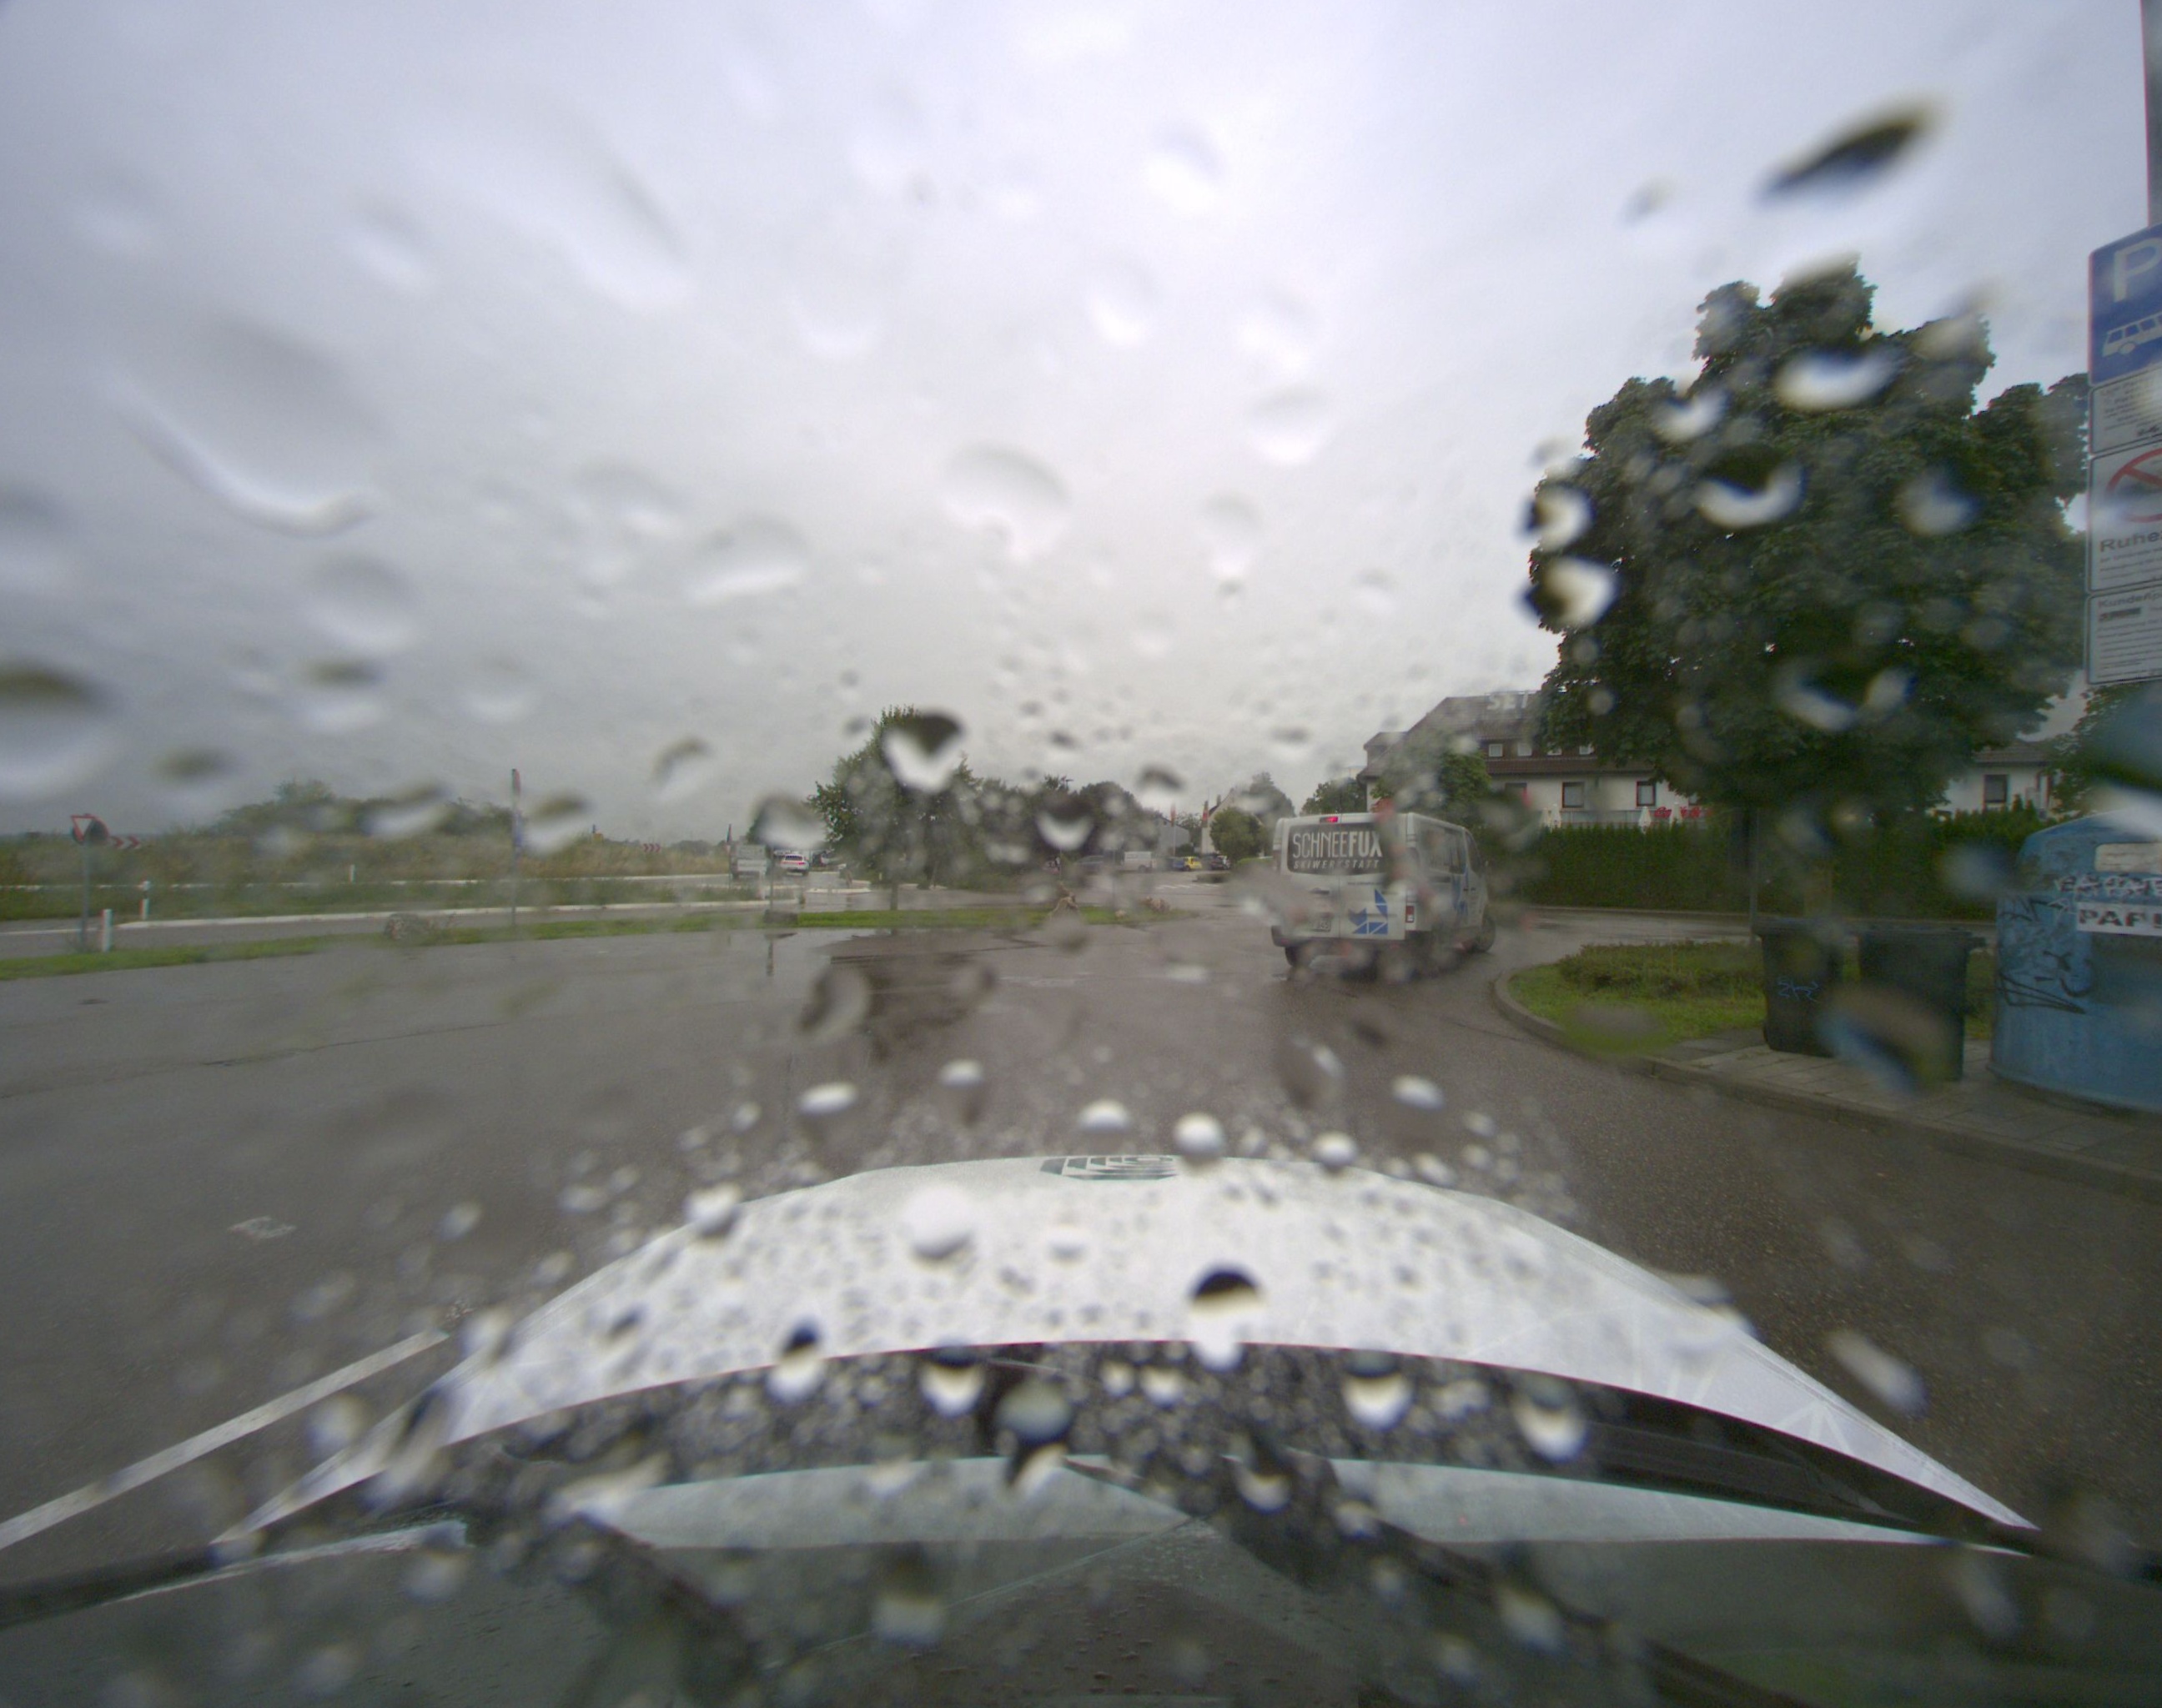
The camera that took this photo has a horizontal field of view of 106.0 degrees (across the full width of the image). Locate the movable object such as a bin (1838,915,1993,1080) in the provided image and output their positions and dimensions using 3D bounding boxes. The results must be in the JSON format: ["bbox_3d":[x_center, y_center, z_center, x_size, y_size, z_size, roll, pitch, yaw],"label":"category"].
[{"bbox_3d":[5.102,0.858,5.004,0.447,0.917,0.489,-1,0,1],"label":"movable object such as a bin"}]

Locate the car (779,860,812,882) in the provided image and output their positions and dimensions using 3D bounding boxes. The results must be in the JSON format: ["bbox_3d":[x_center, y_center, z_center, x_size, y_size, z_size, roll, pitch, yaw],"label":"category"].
[{"bbox_3d":[-21.994,1.258,62.836,1.688,1.584,4.371,-1,0,-10],"label":"car"}]

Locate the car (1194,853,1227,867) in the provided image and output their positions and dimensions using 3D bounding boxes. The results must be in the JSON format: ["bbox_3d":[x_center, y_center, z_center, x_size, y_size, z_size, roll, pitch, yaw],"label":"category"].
[{"bbox_3d":[13.530,0.613,85.106,1.588,1.458,3.649,-1,0,-26],"label":"car"}]

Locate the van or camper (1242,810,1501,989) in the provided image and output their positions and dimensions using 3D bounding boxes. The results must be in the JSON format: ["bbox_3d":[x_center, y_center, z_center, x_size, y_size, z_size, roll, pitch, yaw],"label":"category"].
[{"bbox_3d":[4.381,0.483,11.599,2.166,1.945,5.230,0,0,35],"label":"van or camper"}]

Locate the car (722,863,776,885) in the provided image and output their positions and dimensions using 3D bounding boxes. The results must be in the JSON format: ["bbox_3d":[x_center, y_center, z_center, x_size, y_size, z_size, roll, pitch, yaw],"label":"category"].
[{"bbox_3d":[-21.759,1.286,53.464,1.681,1.326,4.047,-1,0,3],"label":"car"}]

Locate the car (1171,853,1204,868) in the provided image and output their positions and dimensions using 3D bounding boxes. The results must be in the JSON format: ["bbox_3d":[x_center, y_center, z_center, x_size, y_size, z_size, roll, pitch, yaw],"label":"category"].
[{"bbox_3d":[10.996,0.652,84.139,1.588,1.458,3.649,-1,0,-26],"label":"car"}]

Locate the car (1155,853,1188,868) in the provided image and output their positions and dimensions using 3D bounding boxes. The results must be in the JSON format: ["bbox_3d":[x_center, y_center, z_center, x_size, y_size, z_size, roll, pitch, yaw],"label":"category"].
[{"bbox_3d":[9.103,0.678,82.264,1.559,1.458,3.649,-1,0,-26],"label":"car"}]

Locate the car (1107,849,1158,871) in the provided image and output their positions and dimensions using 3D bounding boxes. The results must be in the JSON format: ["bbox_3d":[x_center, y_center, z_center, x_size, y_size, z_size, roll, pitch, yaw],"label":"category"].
[{"bbox_3d":[4.795,0.571,75.744,4.482,2.033,1.653,0,0,20],"label":"car"}]

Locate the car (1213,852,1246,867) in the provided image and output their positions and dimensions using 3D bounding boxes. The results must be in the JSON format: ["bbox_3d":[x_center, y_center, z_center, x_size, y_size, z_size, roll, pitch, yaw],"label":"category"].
[{"bbox_3d":[15.671,0.584,86.155,1.588,1.458,3.649,-1,0,-26],"label":"car"}]

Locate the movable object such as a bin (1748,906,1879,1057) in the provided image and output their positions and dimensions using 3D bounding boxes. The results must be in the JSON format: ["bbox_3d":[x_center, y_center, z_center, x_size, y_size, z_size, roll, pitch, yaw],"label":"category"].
[{"bbox_3d":[4.960,0.845,5.539,0.447,0.938,0.489,-1,0,1],"label":"movable object such as a bin"}]

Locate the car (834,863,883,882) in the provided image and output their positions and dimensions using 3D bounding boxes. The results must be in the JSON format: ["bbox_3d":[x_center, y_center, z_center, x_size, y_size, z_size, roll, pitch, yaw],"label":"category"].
[{"bbox_3d":[-22.164,1.842,81.124,4.388,1.758,1.728,0,-1,-39],"label":"car"}]

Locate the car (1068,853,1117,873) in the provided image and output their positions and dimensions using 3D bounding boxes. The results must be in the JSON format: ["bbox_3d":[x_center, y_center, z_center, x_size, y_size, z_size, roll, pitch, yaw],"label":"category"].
[{"bbox_3d":[0.938,0.747,66.551,3.701,1.551,1.458,0,0,20],"label":"car"}]
